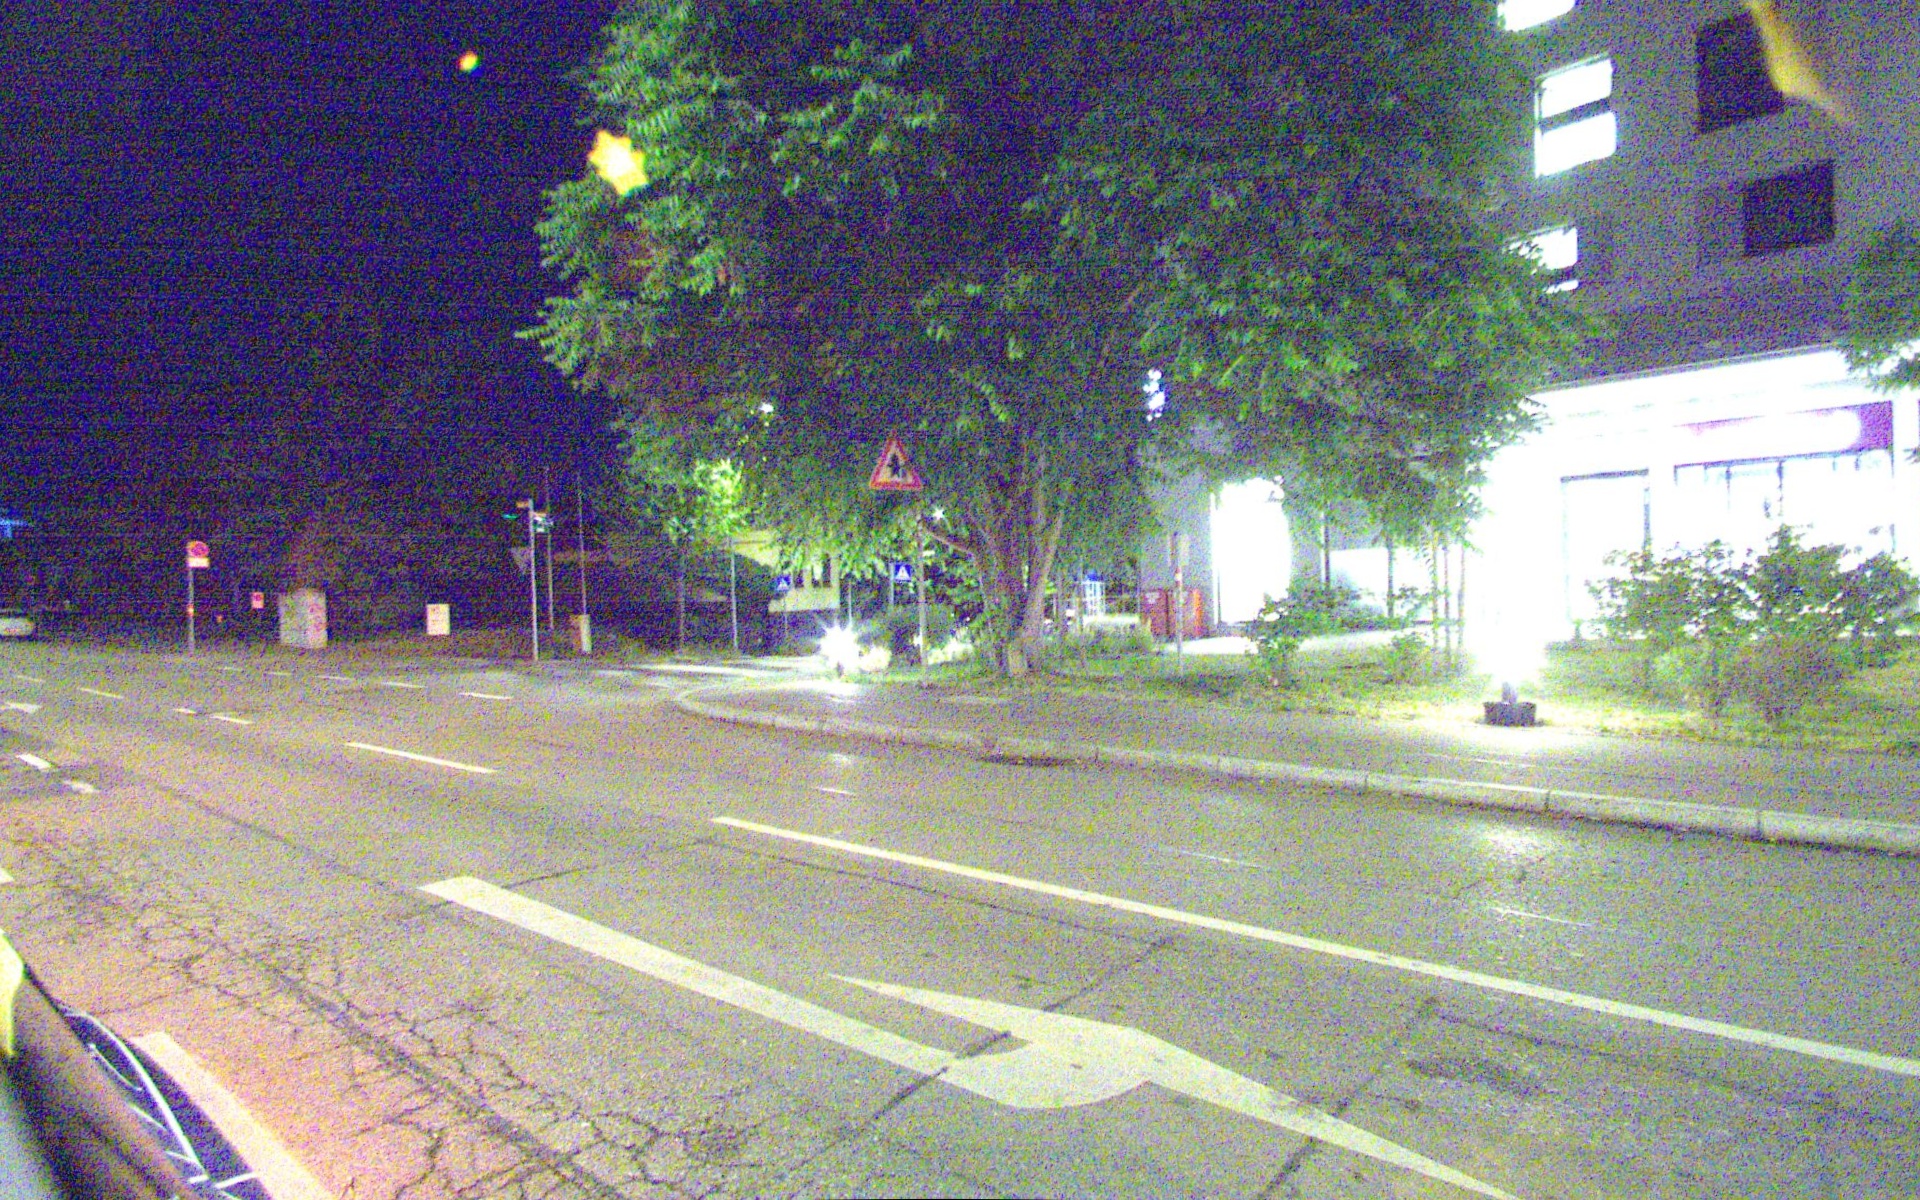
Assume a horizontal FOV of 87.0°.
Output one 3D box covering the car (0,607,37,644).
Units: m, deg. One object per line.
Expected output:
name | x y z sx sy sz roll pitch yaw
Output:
car | -43.248 1.139 45.697 3.997 1.604 1.783 -1 0 40

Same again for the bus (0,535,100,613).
bus | -88.726 -2.255 98.069 14.776 6.990 6.056 -1 0 41
